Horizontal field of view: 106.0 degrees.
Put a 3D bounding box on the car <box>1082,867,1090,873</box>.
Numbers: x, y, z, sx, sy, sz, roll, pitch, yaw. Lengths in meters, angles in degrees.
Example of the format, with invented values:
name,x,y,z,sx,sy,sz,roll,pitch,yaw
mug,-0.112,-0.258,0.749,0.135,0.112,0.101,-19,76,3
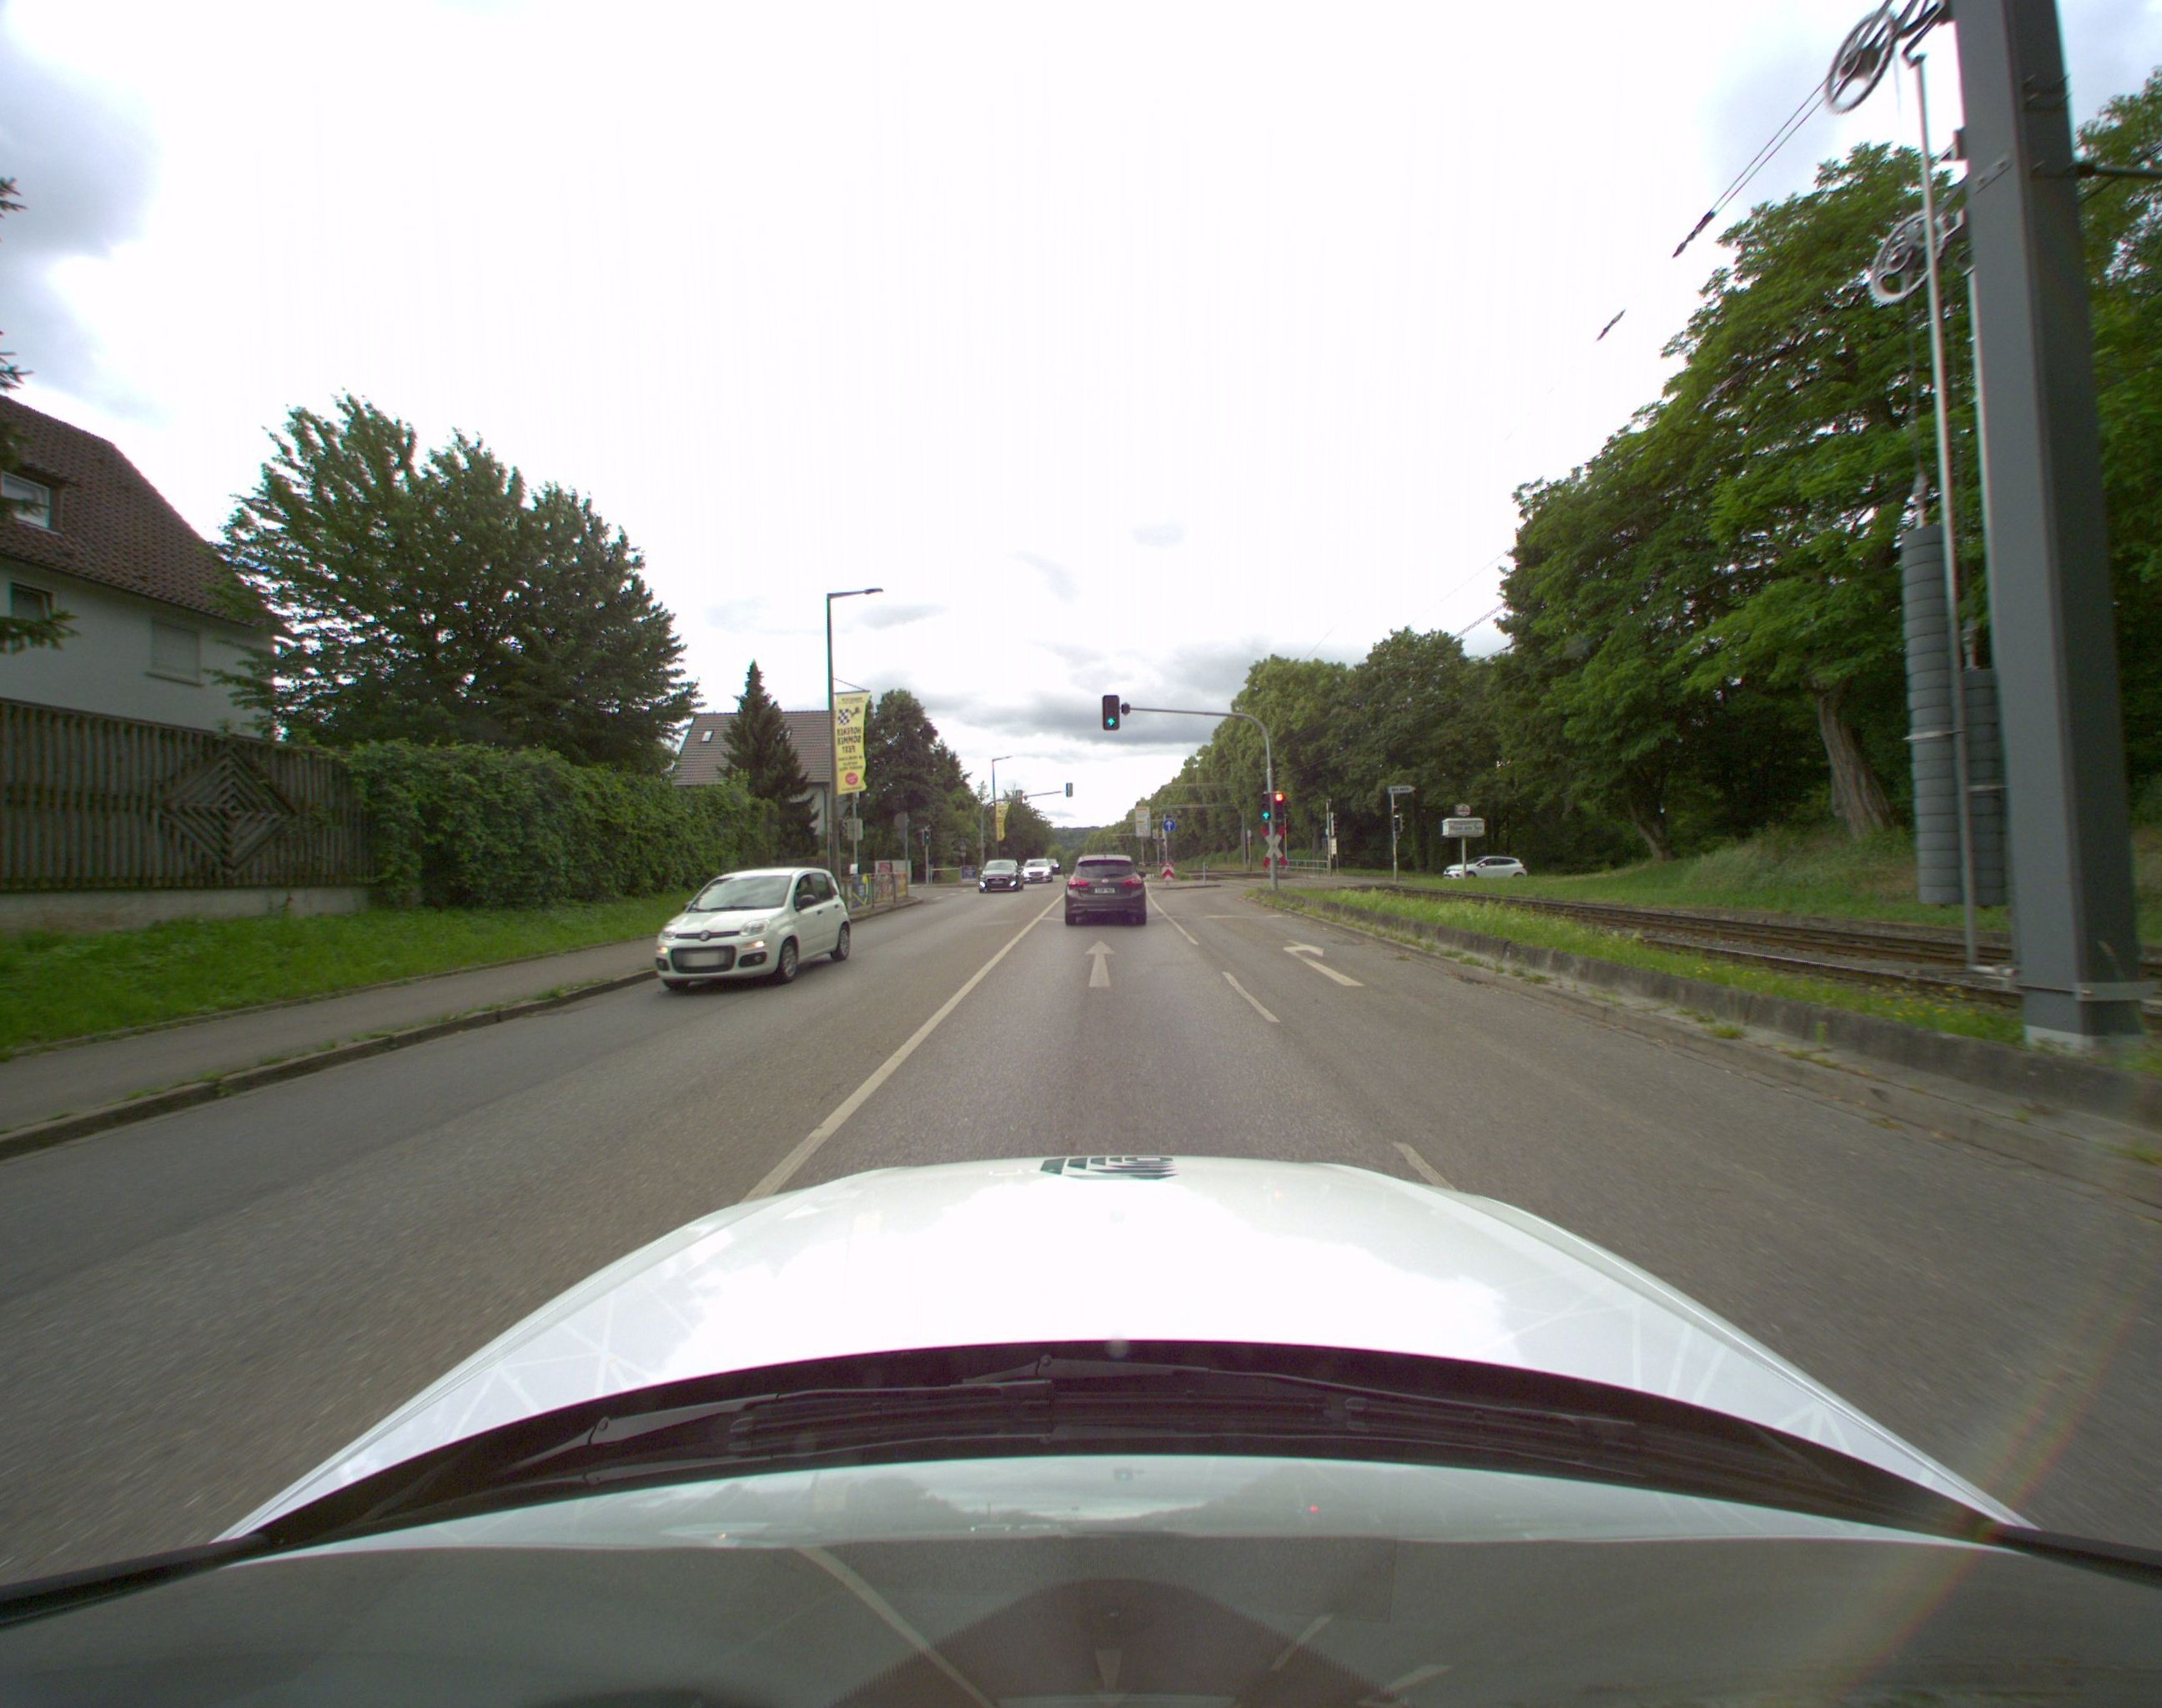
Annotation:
name,x,y,z,sx,sy,sz,roll,pitch,yaw
car,0.998,3.390,171.426,1.736,1.310,3.999,0,0,0

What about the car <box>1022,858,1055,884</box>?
name,x,y,z,sx,sy,sz,roll,pitch,yaw
car,-2.658,1.026,51.464,1.813,1.567,5.204,-1,0,0

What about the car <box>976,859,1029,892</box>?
name,x,y,z,sx,sy,sz,roll,pitch,yaw
car,-3.510,0.937,37.087,1.805,1.373,4.162,-1,0,2

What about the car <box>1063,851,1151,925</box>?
name,x,y,z,sx,sy,sz,roll,pitch,yaw
car,0.611,0.698,19.172,1.828,1.519,4.485,0,0,2

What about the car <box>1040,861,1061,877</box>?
name,x,y,z,sx,sy,sz,roll,pitch,yaw
car,-3.071,1.512,81.926,1.895,1.574,4.481,-2,-1,-1

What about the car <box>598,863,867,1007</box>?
name,x,y,z,sx,sy,sz,roll,pitch,yaw
car,-4.672,0.966,11.831,1.807,1.524,4.700,-4,0,0

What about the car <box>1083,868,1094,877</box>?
name,x,y,z,sx,sy,sz,roll,pitch,yaw
car,1.164,3.051,133.999,1.736,1.310,3.999,0,0,0

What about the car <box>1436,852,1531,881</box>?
name,x,y,z,sx,sy,sz,roll,pitch,yaw
car,20.974,0.657,42.517,3.979,1.354,1.997,2,0,-4

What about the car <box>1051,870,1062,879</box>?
name,x,y,z,sx,sy,sz,roll,pitch,yaw
car,-4.491,3.745,149.616,1.779,1.696,4.000,-2,-1,0

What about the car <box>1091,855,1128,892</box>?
name,x,y,z,sx,sy,sz,roll,pitch,yaw
car,1.266,0.830,36.342,1.533,1.478,3.766,-2,0,2

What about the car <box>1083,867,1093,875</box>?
name,x,y,z,sx,sy,sz,roll,pitch,yaw
car,1.256,3.187,151.070,1.736,1.310,3.999,0,0,0
